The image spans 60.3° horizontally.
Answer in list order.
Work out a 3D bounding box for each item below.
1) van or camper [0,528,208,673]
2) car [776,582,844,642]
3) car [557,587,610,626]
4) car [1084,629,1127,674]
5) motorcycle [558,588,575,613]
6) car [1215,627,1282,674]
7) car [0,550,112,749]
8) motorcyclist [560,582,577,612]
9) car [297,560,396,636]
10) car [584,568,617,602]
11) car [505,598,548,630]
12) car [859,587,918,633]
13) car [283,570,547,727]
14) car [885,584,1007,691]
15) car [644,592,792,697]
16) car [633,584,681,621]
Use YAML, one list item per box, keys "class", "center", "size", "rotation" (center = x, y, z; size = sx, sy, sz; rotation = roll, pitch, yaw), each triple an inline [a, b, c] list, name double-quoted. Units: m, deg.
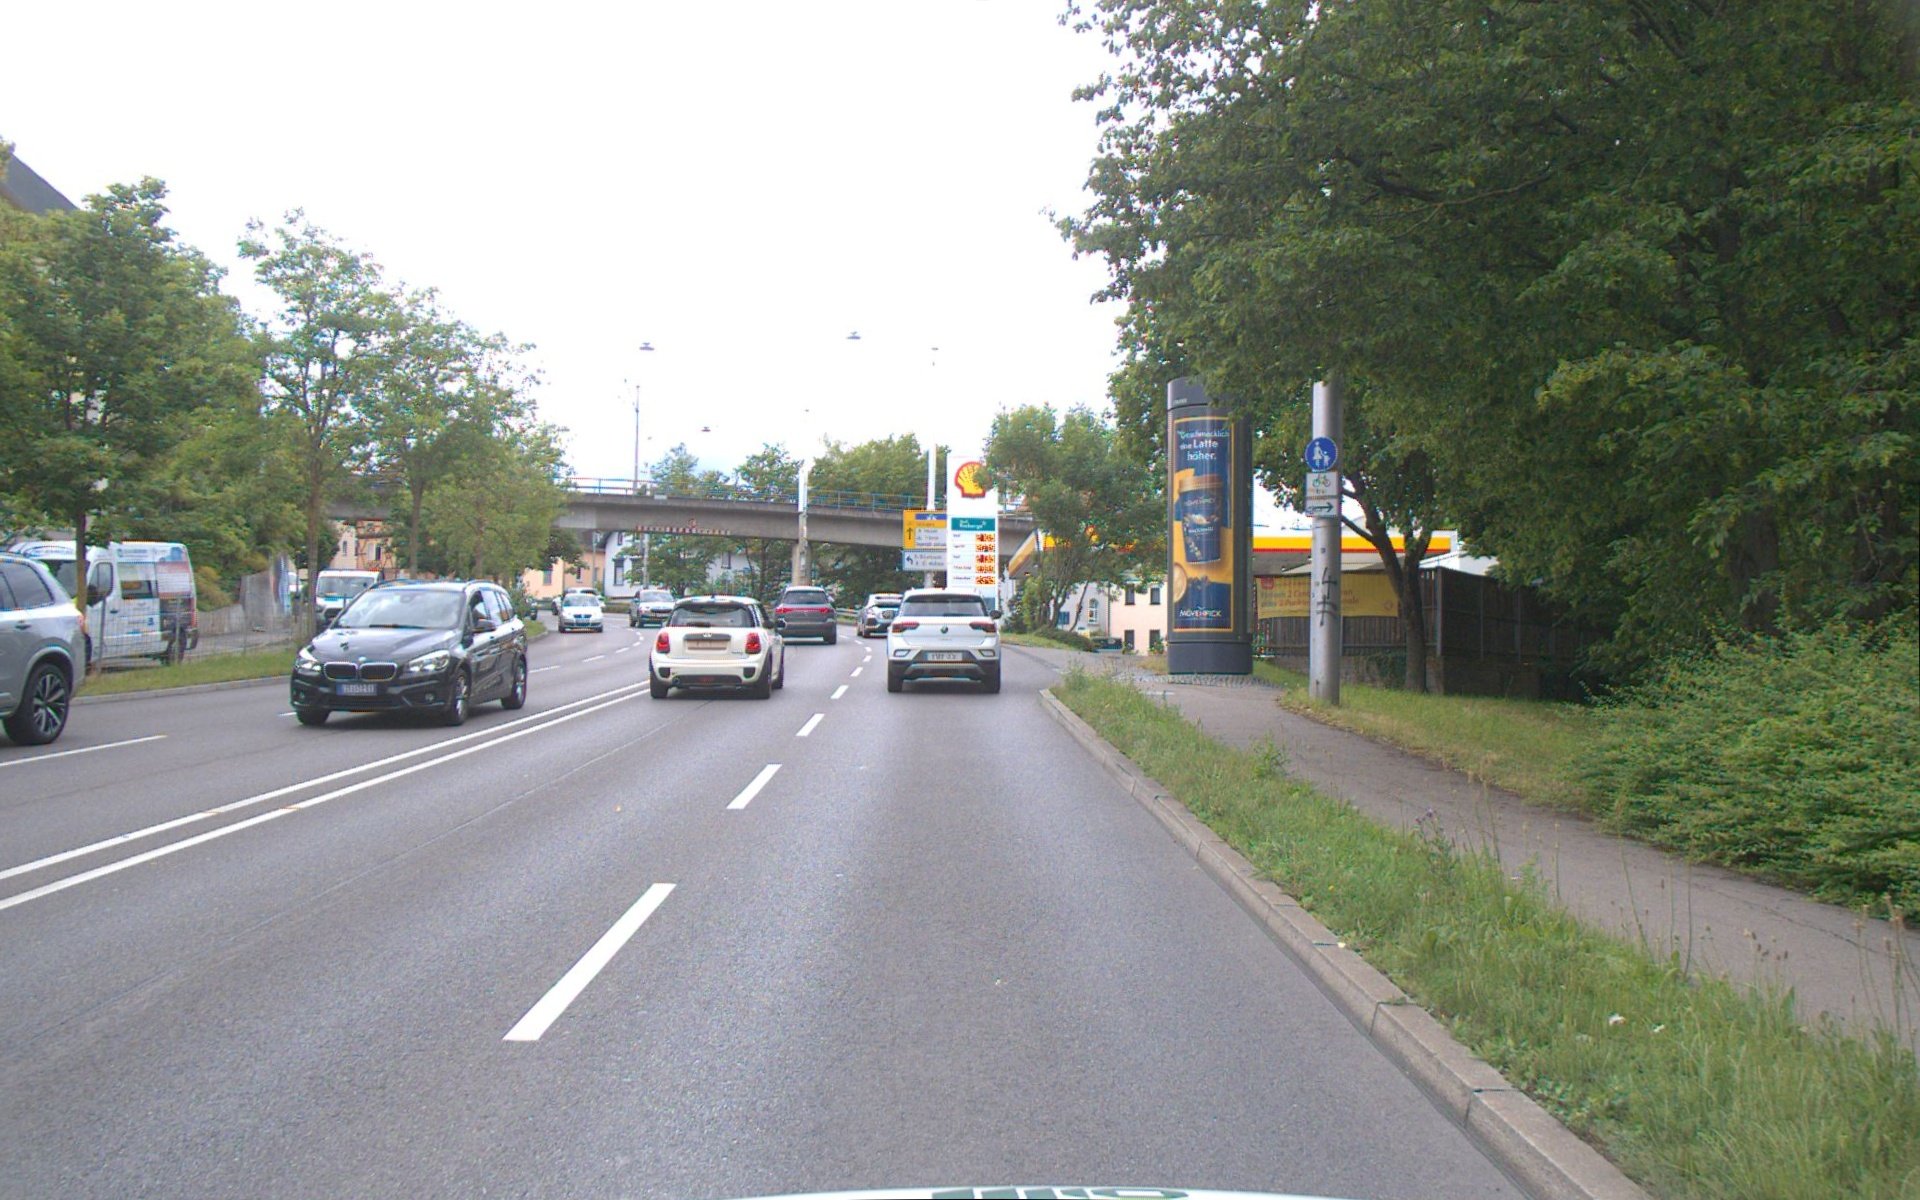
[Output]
- class: "van or camper"
  center: [-16.654, -0.002, 31.567]
  size: [1.952, 2.516, 5.710]
  rotation: [0, 0, 0]
- class: "car"
  center: [-4.329, 0.332, 48.121]
  size: [1.687, 1.668, 3.456]
  rotation: [1, 0, -1]
- class: "car"
  center: [-14.687, 0.222, 64.687]
  size: [1.535, 1.456, 3.886]
  rotation: [1, 0, -6]
- class: "car"
  center: [6.987, 2.495, 79.692]
  size: [1.699, 2.046, 4.712]
  rotation: [0, -3, 1]
- class: "motorcycle"
  center: [-21.097, 0.024, 88.587]
  size: [0.582, 1.327, 2.442]
  rotation: [0, 0, -20]
- class: "car"
  center: [9.904, 1.763, 57.053]
  size: [1.699, 1.512, 3.877]
  rotation: [0, -3, 1]
- class: "car"
  center: [-9.218, 0.419, 13.874]
  size: [1.728, 1.738, 4.869]
  rotation: [1, 0, -1]
- class: "motorcyclist"
  center: [-21.015, -0.148, 88.730]
  size: [0.789, 1.583, 0.994]
  rotation: [0, 0, -21]
- class: "car"
  center: [-19.861, -0.076, 53.812]
  size: [2.229, 2.312, 6.305]
  rotation: [0, 0, -13]
- class: "car"
  center: [-21.327, -0.897, 98.198]
  size: [1.864, 1.971, 3.988]
  rotation: [1, 0, -12]
- class: "car"
  center: [-22.916, 0.712, 87.352]
  size: [1.760, 1.603, 4.440]
  rotation: [-1, 1, -21]
- class: "car"
  center: [-2.394, 0.309, 54.825]
  size: [1.644, 1.433, 3.450]
  rotation: [1, 0, -8]
- class: "car"
  center: [-6.305, 0.499, 19.669]
  size: [1.728, 1.620, 4.365]
  rotation: [1, 0, -1]
- class: "car"
  center: [-0.230, 0.544, 26.058]
  size: [1.760, 1.545, 3.456]
  rotation: [1, 0, -1]
- class: "car"
  center: [-3.488, 0.607, 24.389]
  size: [1.687, 1.400, 3.456]
  rotation: [1, 0, -1]
- class: "car"
  center: [-13.119, 0.089, 71.792]
  size: [1.751, 1.565, 4.070]
  rotation: [0, 0, -7]
